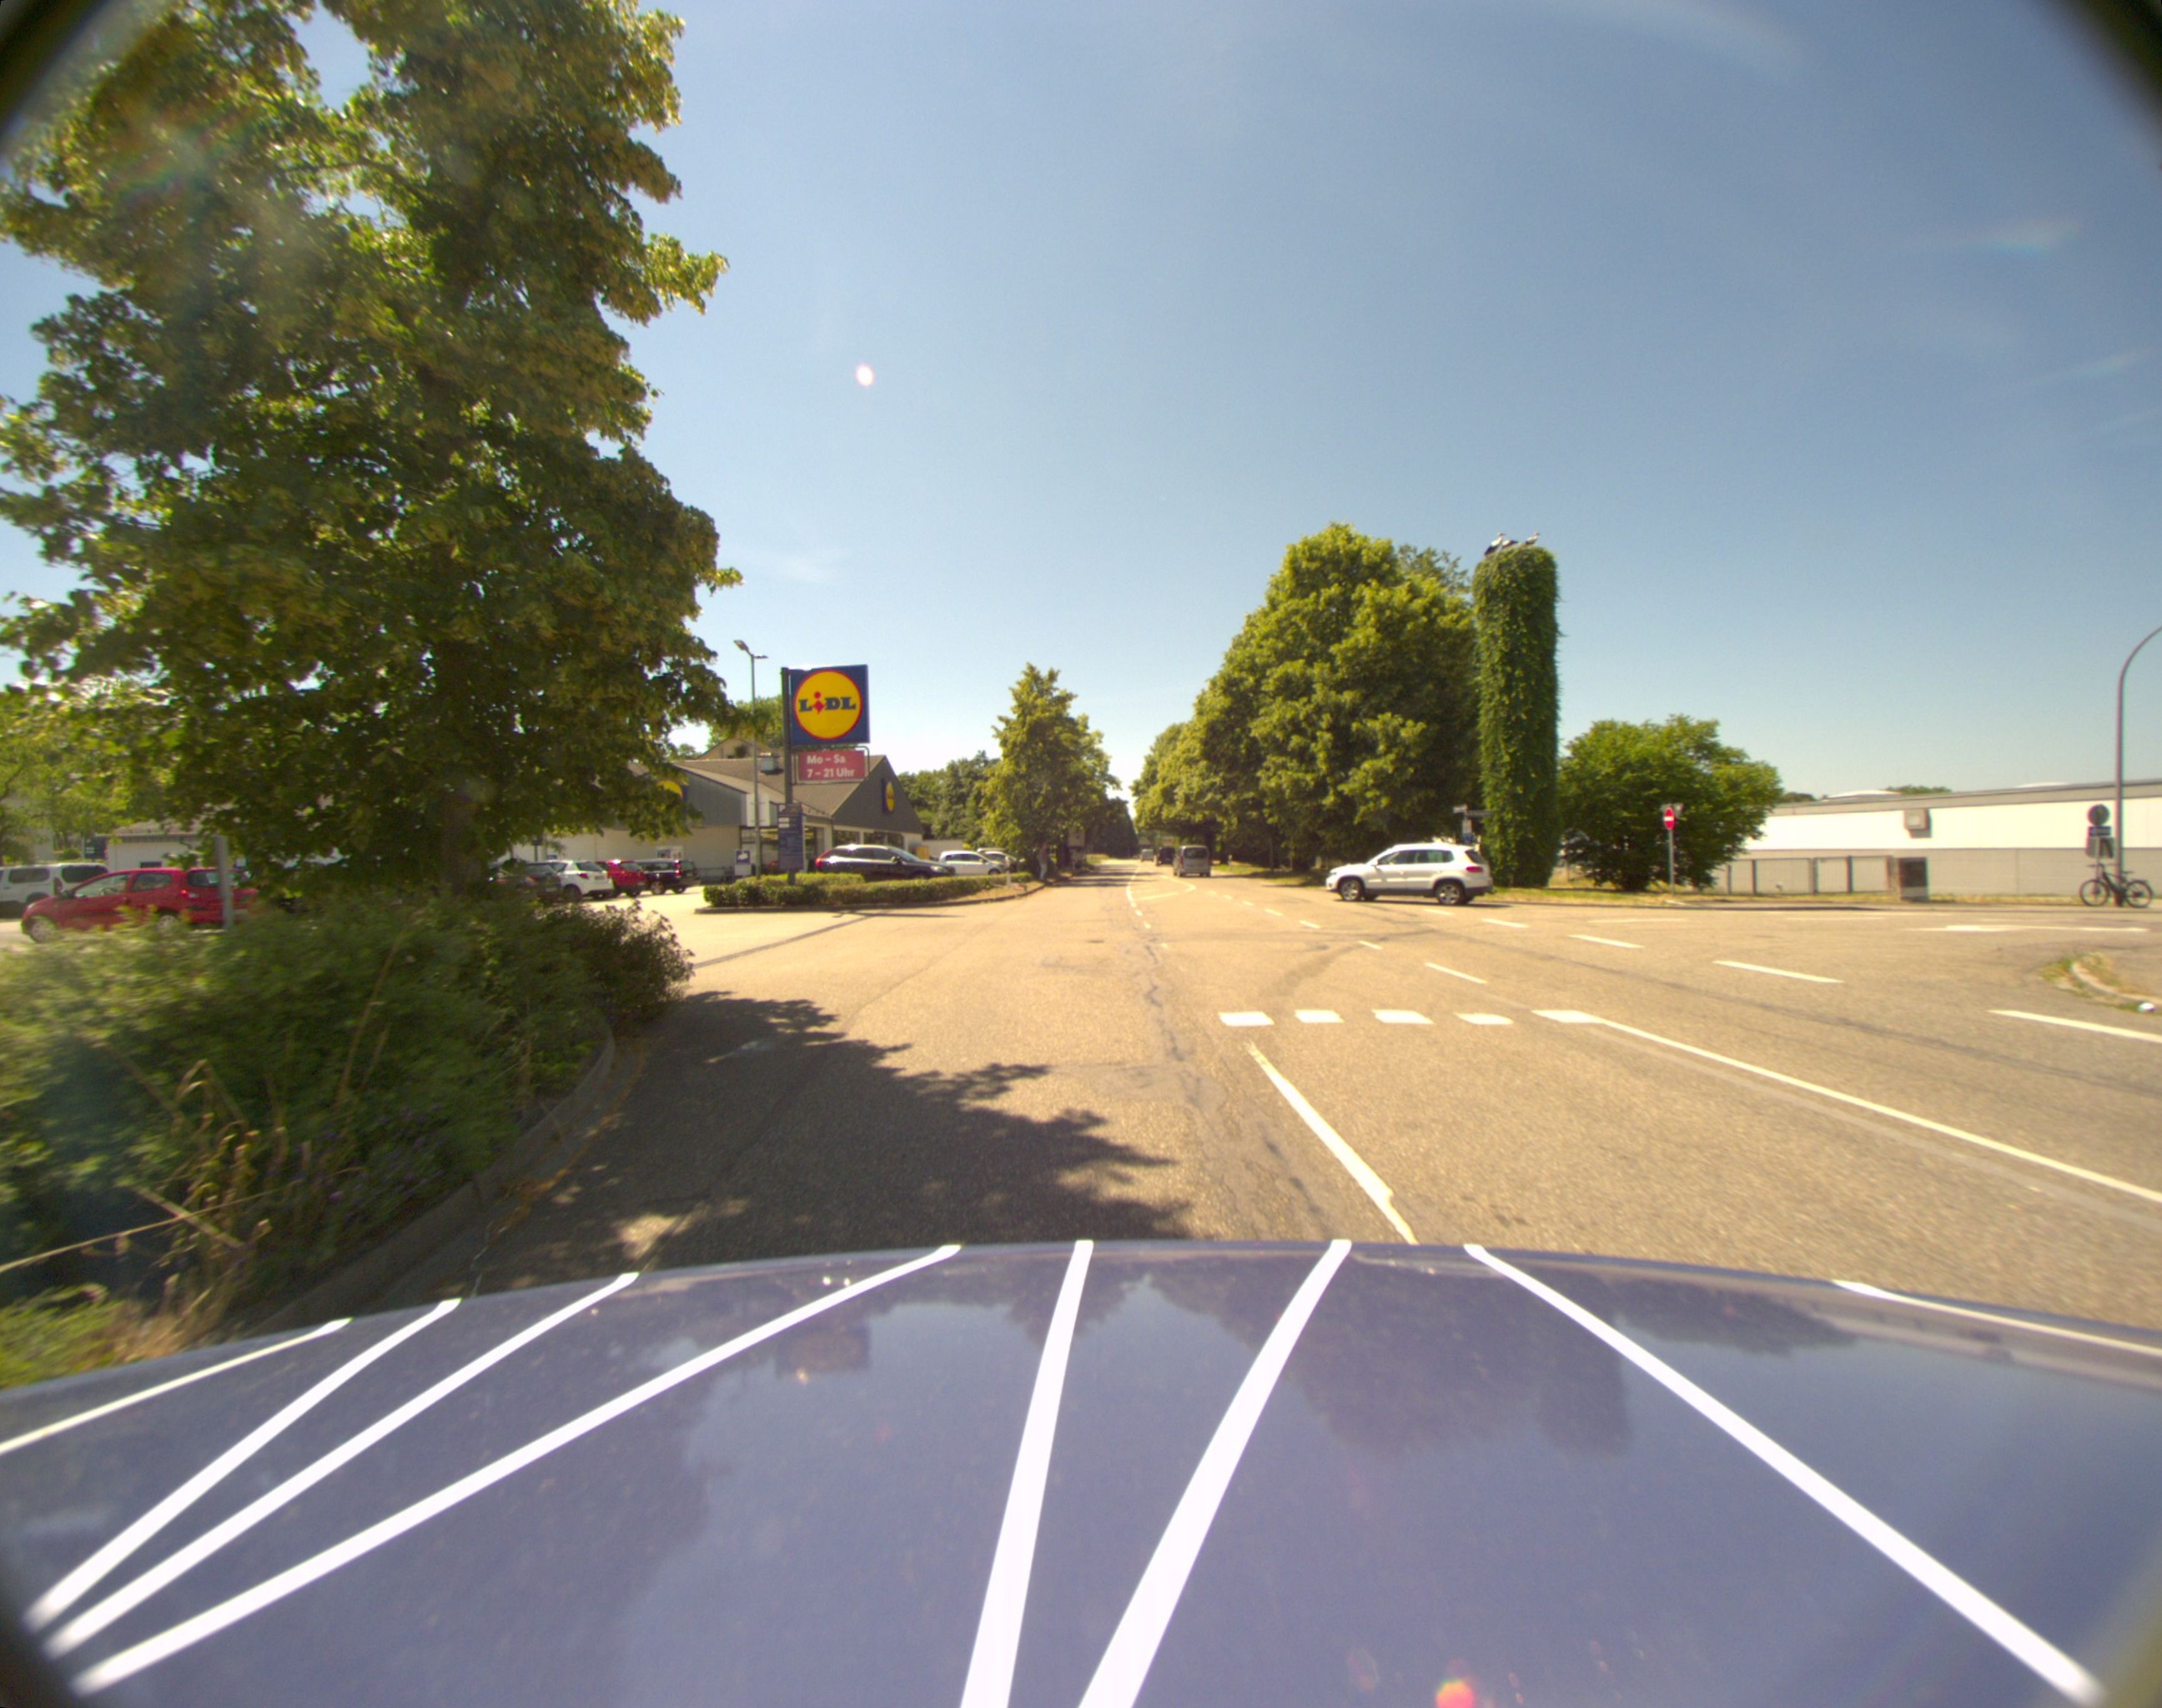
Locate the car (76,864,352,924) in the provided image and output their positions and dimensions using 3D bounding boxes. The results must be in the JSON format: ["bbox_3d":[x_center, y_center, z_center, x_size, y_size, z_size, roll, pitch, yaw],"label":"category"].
[{"bbox_3d":[-24.922,1.118,22.006,5.529,1.632,2.000,0,0,-2],"label":"car"}]

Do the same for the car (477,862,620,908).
[{"bbox_3d":[-18.712,1.064,26.800,3.731,1.495,1.819,-1,0,1],"label":"car"}]

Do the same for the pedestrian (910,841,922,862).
[{"bbox_3d":[-13.582,-0.183,62.522,0.762,1.731,0.698,0,1,4],"label":"pedestrian"}]

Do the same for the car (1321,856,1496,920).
[{"bbox_3d":[9.270,0.889,21.614,4.236,1.662,1.980,0,0,36],"label":"car"}]

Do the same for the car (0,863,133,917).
[{"bbox_3d":[-36.321,1.235,26.567,3.997,1.780,1.776,0,1,-1],"label":"car"}]

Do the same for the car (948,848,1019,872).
[{"bbox_3d":[-6.161,0.370,48.409,4.241,1.403,1.953,-1,0,-1],"label":"car"}]

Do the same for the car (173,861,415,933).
[{"bbox_3d":[-19.422,1.026,18.889,4.031,1.554,1.808,-2,1,0],"label":"car"}]

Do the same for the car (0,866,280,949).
[{"bbox_3d":[-19.987,1.094,16.135,3.998,1.523,1.651,-1,1,-4],"label":"car"}]

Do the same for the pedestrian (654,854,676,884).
[{"bbox_3d":[-21.743,0.800,39.686,0.803,1.543,0.558,0,1,0],"label":"pedestrian"}]

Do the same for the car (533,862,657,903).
[{"bbox_3d":[-18.610,1.067,29.197,3.605,1.449,1.746,-1,0,1],"label":"car"}]

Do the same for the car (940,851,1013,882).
[{"bbox_3d":[-5.186,0.621,38.016,3.406,1.497,1.582,0,0,0],"label":"car"}]

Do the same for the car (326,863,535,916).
[{"bbox_3d":[-18.480,0.983,21.750,4.254,1.383,1.901,0,1,-2],"label":"car"}]

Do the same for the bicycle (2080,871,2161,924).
[{"bbox_3d":[27.356,1.123,19.934,1.539,1.341,0.395,1,1,7],"label":"bicycle"}]

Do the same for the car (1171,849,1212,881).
[{"bbox_3d":[6.358,0.606,44.152,1.800,1.762,4.364,0,1,1],"label":"car"}]

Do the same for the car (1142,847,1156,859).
[{"bbox_3d":[10.404,-0.134,116.600,1.882,1.823,5.299,0,0,2],"label":"car"}]

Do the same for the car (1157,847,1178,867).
[{"bbox_3d":[8.249,0.266,72.382,1.827,1.771,4.784,1,0,5],"label":"car"}]

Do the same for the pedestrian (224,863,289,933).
[{"bbox_3d":[-19.088,1.007,17.607,0.679,1.582,0.707,0,1,2],"label":"pedestrian"}]

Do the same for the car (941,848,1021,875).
[{"bbox_3d":[-5.600,0.389,42.988,4.322,1.472,1.809,0,0,-1],"label":"car"}]

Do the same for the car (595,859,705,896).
[{"bbox_3d":[-17.928,0.969,31.677,3.605,1.408,1.672,-1,0,1],"label":"car"}]

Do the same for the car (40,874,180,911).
[{"bbox_3d":[-37.088,1.463,29.075,3.425,1.314,1.428,0,1,-1],"label":"car"}]

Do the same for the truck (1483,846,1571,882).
[{"bbox_3d":[37.793,0.841,64.883,2.690,2.780,10.165,-1,0,8],"label":"truck"}]

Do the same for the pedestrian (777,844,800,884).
[{"bbox_3d":[-14.493,0.487,37.697,0.784,2.002,0.803,0,1,0],"label":"pedestrian"}]

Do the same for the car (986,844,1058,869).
[{"bbox_3d":[-4.130,0.197,53.531,4.860,1.666,2.000,-1,0,1],"label":"car"}]

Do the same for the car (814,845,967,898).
[{"bbox_3d":[-6.274,0.574,25.318,4.523,1.658,1.895,-1,0,6],"label":"car"}]

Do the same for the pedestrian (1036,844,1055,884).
[{"bbox_3d":[-1.588,0.430,33.851,0.730,1.779,0.621,0,1,10],"label":"pedestrian"}]
